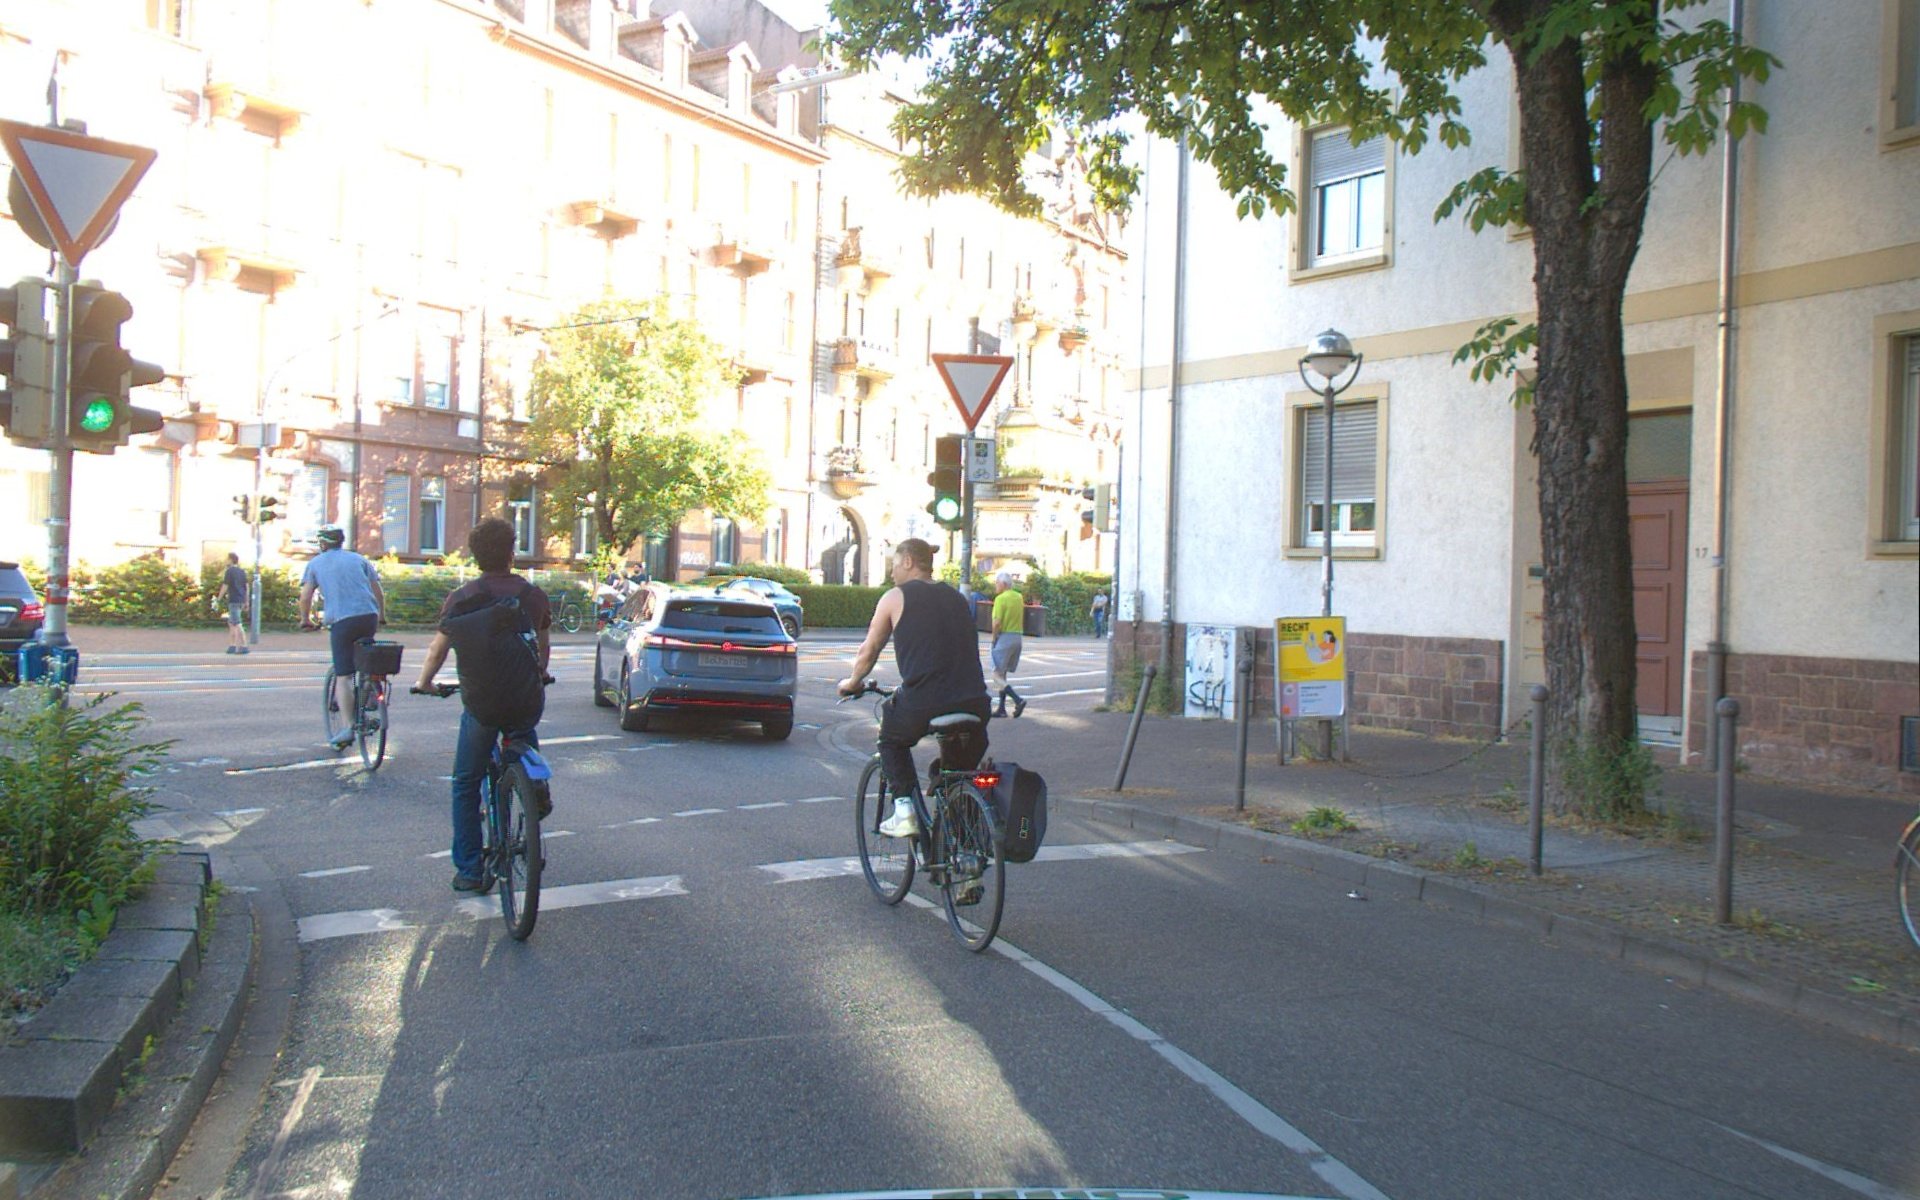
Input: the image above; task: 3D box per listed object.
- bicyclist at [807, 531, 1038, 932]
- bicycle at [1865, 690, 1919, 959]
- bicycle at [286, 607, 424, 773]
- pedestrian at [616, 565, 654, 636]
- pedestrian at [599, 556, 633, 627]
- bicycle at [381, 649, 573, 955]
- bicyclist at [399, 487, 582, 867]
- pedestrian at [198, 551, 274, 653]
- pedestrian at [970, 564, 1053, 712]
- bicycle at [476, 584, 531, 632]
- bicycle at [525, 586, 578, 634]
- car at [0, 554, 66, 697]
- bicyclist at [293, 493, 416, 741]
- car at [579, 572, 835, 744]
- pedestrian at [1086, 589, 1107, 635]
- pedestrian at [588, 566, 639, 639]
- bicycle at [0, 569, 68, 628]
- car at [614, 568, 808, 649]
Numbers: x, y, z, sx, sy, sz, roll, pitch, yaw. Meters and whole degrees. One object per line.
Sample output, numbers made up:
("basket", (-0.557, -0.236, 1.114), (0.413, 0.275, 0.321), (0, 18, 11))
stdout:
("bicyclist", (-0.190, 0.549, 7.550), (0.679, 1.685, 0.980), (0, 0, -29))
("bicycle", (4.243, 0.951, 6.385), (0.471, 1.082, 1.633), (-1, 1, -6))
("bicycle", (-5.000, 0.689, 13.586), (0.800, 1.205, 2.208), (2, 0, -27))
("pedestrian", (-8.055, 0.012, 40.947), (0.632, 1.745, 0.653), (2, 0, -44))
("pedestrian", (-8.624, -0.208, 41.454), (0.632, 1.745, 0.513), (2, 0, -45))
("bicycle", (-2.152, 0.835, 7.560), (0.705, 1.126, 1.960), (2, 0, -14))
("bicyclist", (-2.098, 0.329, 7.501), (0.694, 1.601, 0.954), (2, 0, -13))
("pedestrian", (-12.442, 0.025, 28.433), (0.883, 1.663, 0.726), (4, 1, 1))
("pedestrian", (0.631, 0.449, 20.315), (0.636, 1.757, 0.879), (-1, 1, -31))
("bicycle", (-10.901, 0.193, 39.503), (0.435, 1.126, 1.228), (3, 1, 38))
("bicycle", (-10.014, 0.251, 40.609), (0.435, 1.126, 1.228), (3, 1, 38))
("car", (-12.525, 0.201, 19.534), (3.778, 1.568, 1.791), (4, 2, 31))
("bicyclist", (-4.977, 0.134, 13.571), (0.785, 1.946, 0.937), (2, 0, -27))
("car", (-2.976, 0.559, 18.585), (1.941, 1.613, 4.449), (4, 0, -20))
("pedestrian", (4.994, 0.427, 60.515), (0.517, 1.669, 0.492), (1, 0, 44))
("pedestrian", (-8.272, 0.061, 39.526), (0.890, 1.693, 0.702), (2, 3, -41))
("bicycle", (-19.099, -0.054, 33.265), (1.934, 1.126, 0.440), (3, -1, -24))
("car", (-5.570, 0.190, 37.481), (1.908, 1.679, 4.398), (2, 0, 33))
